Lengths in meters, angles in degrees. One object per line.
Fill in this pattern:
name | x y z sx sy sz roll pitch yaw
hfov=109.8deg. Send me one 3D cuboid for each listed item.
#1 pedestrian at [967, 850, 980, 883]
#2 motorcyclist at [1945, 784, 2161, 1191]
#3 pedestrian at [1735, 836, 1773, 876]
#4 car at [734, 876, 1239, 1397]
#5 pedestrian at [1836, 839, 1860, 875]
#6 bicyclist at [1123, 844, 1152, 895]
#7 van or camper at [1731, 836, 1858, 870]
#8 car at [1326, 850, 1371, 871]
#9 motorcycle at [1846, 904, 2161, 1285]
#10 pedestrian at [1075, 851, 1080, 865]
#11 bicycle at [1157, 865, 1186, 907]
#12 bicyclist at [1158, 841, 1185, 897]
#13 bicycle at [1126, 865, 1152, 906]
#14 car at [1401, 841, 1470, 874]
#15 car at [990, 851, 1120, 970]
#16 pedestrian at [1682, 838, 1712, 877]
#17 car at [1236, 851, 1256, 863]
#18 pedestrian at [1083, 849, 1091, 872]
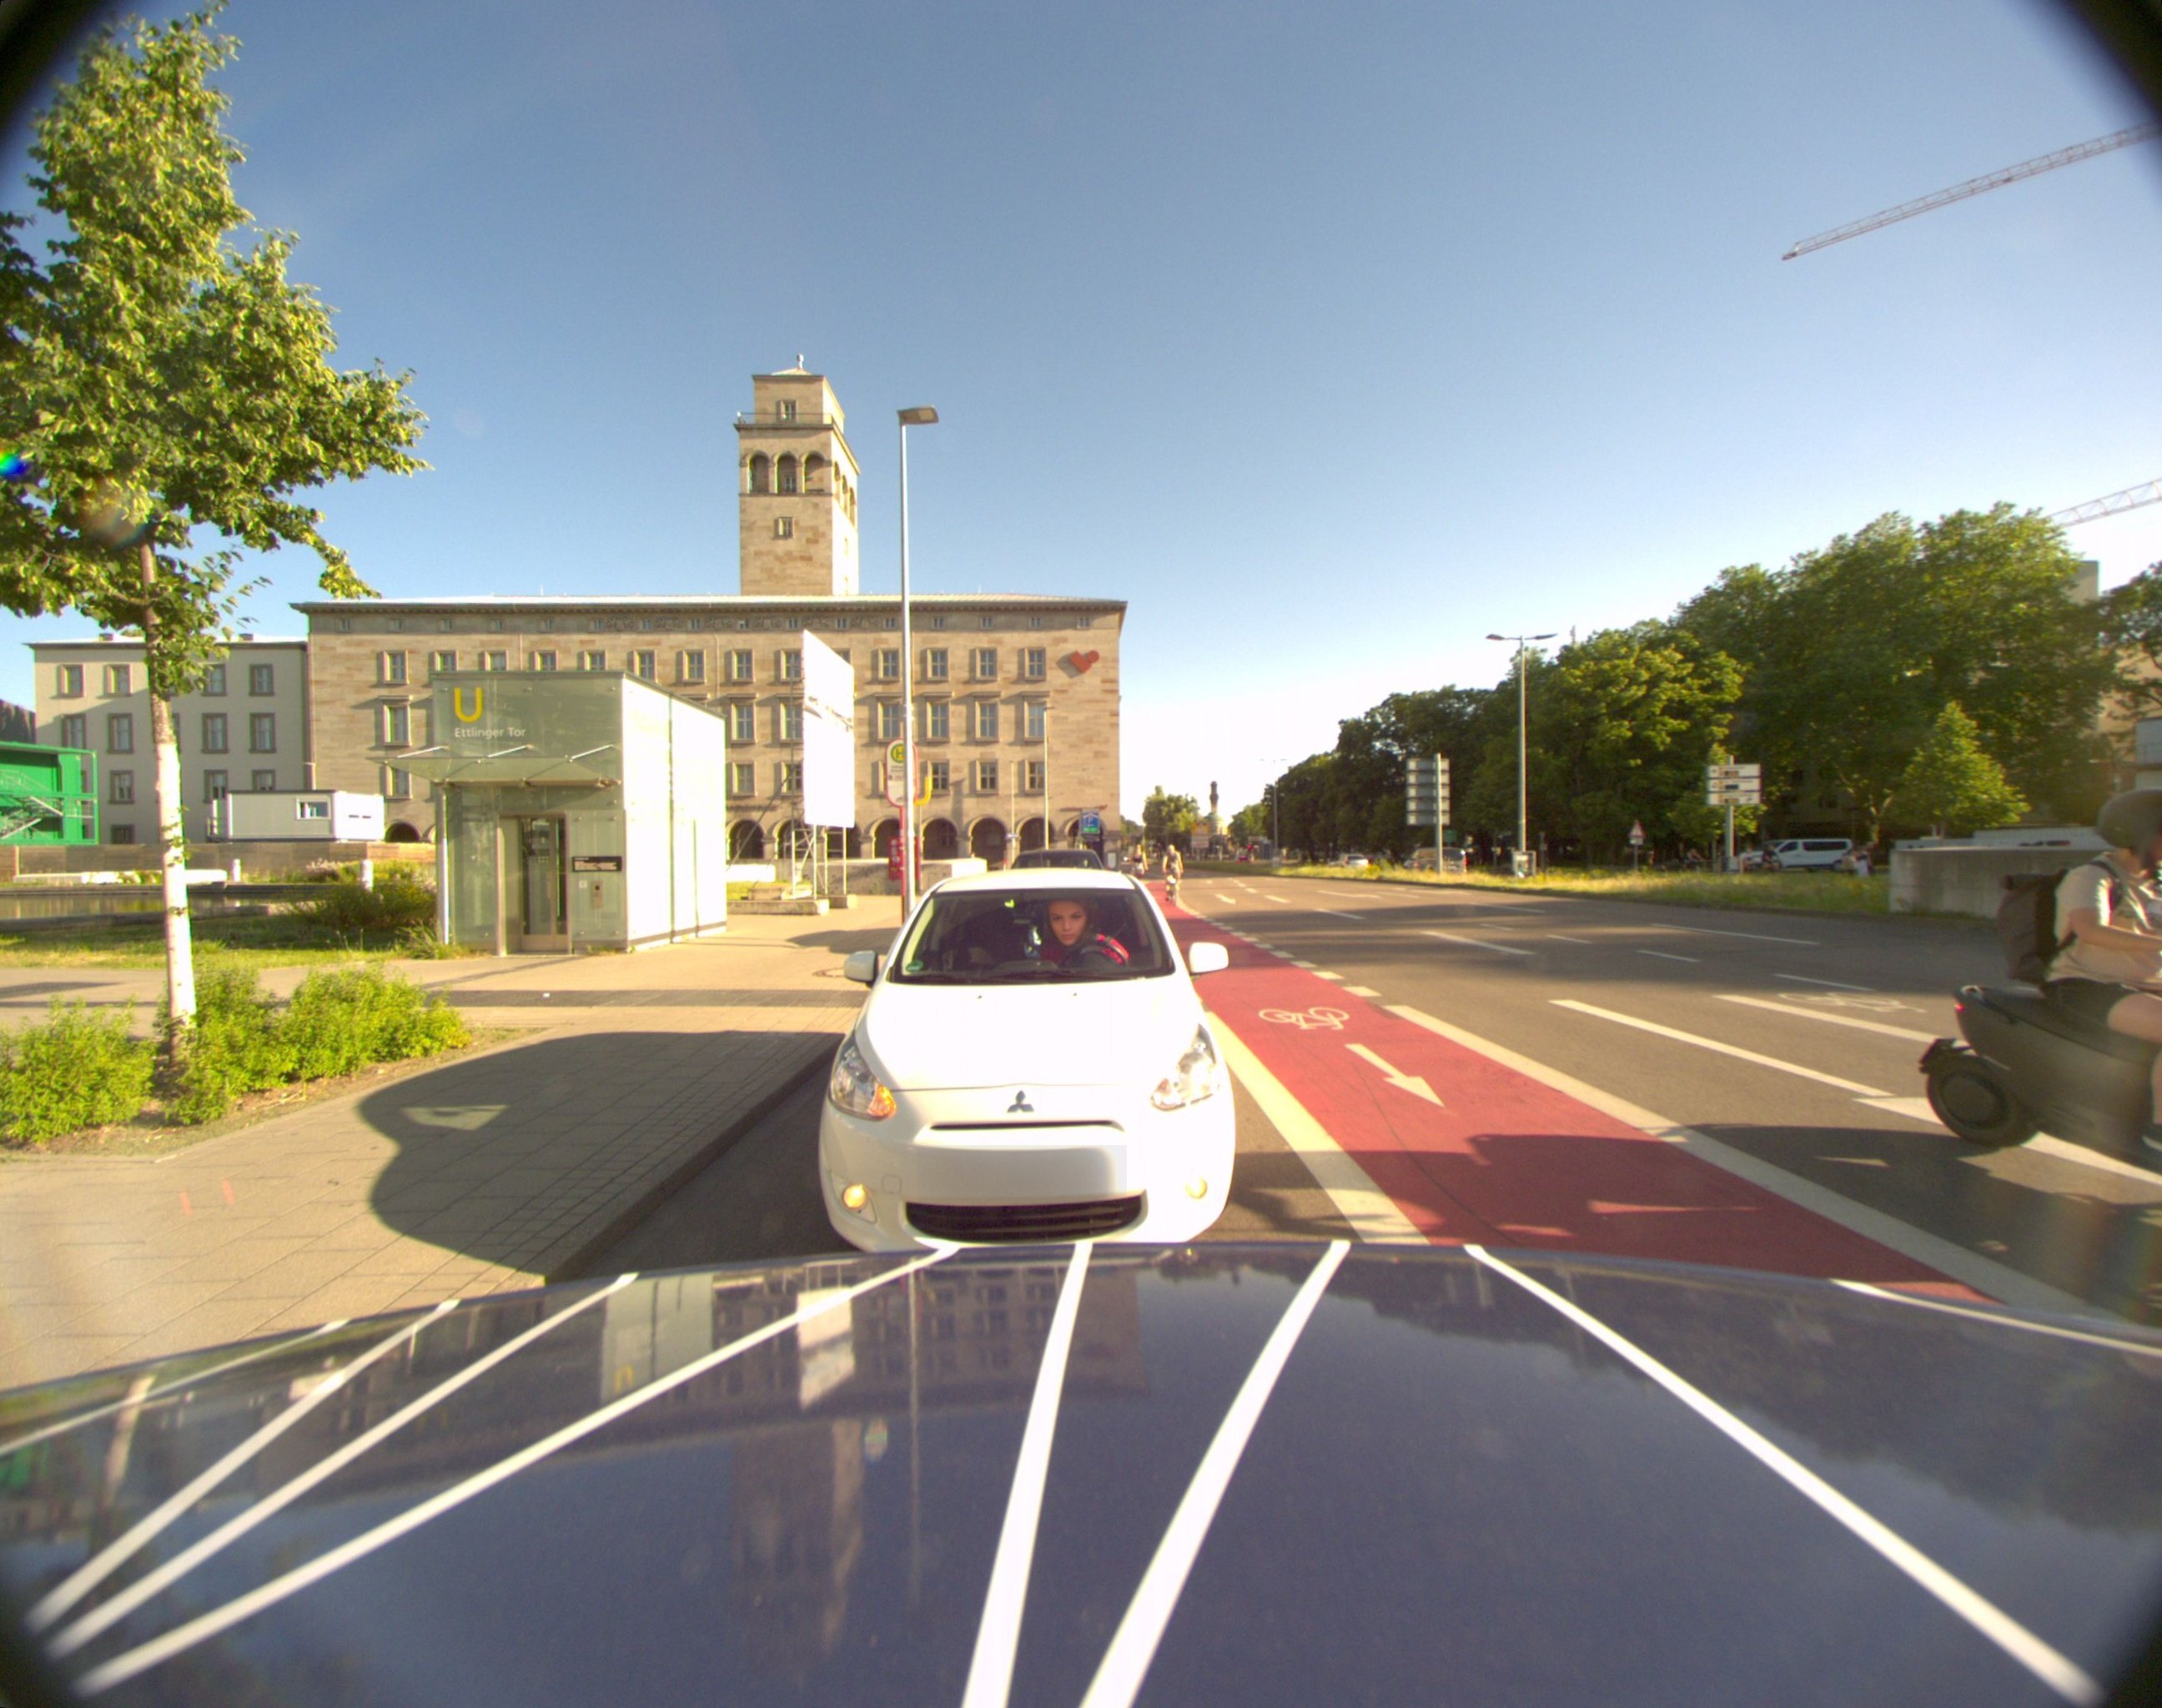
pedestrian | -5.684 0.644 40.111 0.595 1.700 0.583 -1 1 1
motorcyclist | 4.270 0.470 2.953 0.824 1.455 0.877 -1 1 1
pedestrian | 33.622 0.112 37.971 1.126 1.952 0.815 -2 1 1
car | -0.259 0.925 4.312 1.519 1.447 4.000 -1 0 1
pedestrian | 32.418 0.132 32.118 0.499 1.502 0.494 -1 1 1
bicyclist | 1.753 0.469 23.508 0.824 1.568 0.877 -1 1 1
van or camper | 42.234 -0.050 45.067 5.499 1.934 1.951 -1 0 4
car | 18.446 0.401 52.525 1.728 1.369 3.943 -1 0 1
motorcycle | 4.269 0.897 2.863 0.828 1.273 1.944 -1 0 1
pedestrian | -0.519 0.548 113.225 0.612 2.002 0.727 -2 1 0
bicycle | 2.684 0.928 22.636 0.689 1.185 1.506 -1 1 1
bicyclist | 2.682 0.436 22.598 0.674 1.649 0.877 -1 1 1
bicycle | 1.783 0.949 23.406 0.689 1.185 1.506 -1 1 1
car | 21.870 0.213 47.101 1.887 1.911 4.930 -1 0 -2
car | -0.342 0.794 12.785 1.833 1.660 4.000 -1 0 1
pedestrian | 32.719 0.175 40.368 0.955 2.002 0.841 -2 1 11
car | 21.720 0.356 100.228 1.881 1.472 3.980 -1 0 1
pedestrian | 0.431 0.498 55.957 0.552 1.692 0.553 -1 1 -1
